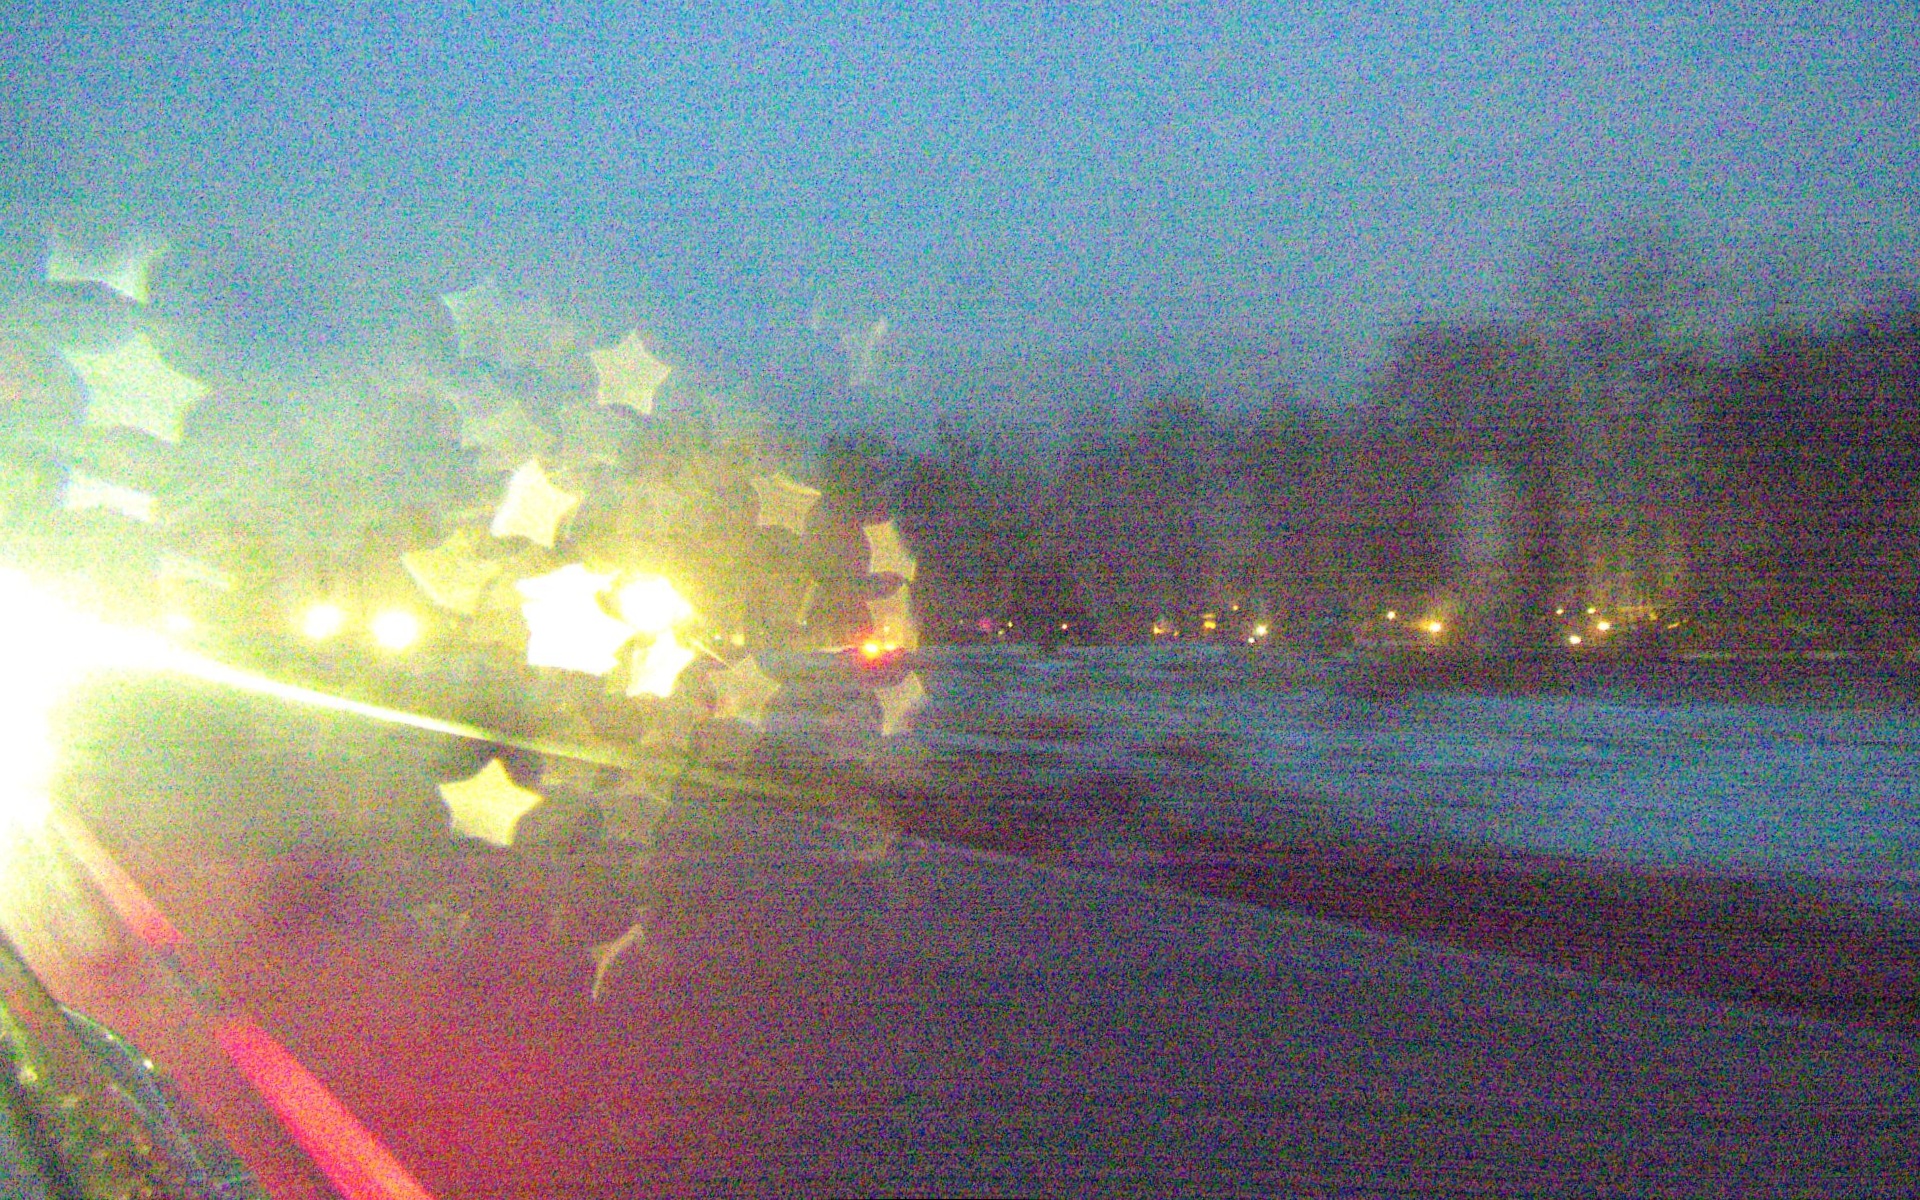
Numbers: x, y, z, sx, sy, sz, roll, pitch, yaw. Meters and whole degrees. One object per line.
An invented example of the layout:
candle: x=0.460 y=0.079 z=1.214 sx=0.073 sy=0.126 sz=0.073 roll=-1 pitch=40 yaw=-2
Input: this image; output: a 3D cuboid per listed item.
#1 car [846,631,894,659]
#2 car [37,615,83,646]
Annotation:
car: x=-5.680 y=2.808 z=63.867 sx=1.632 sy=1.532 sz=3.460 roll=-2 pitch=1 yaw=-31
car: x=-48.609 y=1.610 z=54.649 sx=1.714 sy=1.554 sz=4.004 roll=-3 pitch=1 yaw=-43
